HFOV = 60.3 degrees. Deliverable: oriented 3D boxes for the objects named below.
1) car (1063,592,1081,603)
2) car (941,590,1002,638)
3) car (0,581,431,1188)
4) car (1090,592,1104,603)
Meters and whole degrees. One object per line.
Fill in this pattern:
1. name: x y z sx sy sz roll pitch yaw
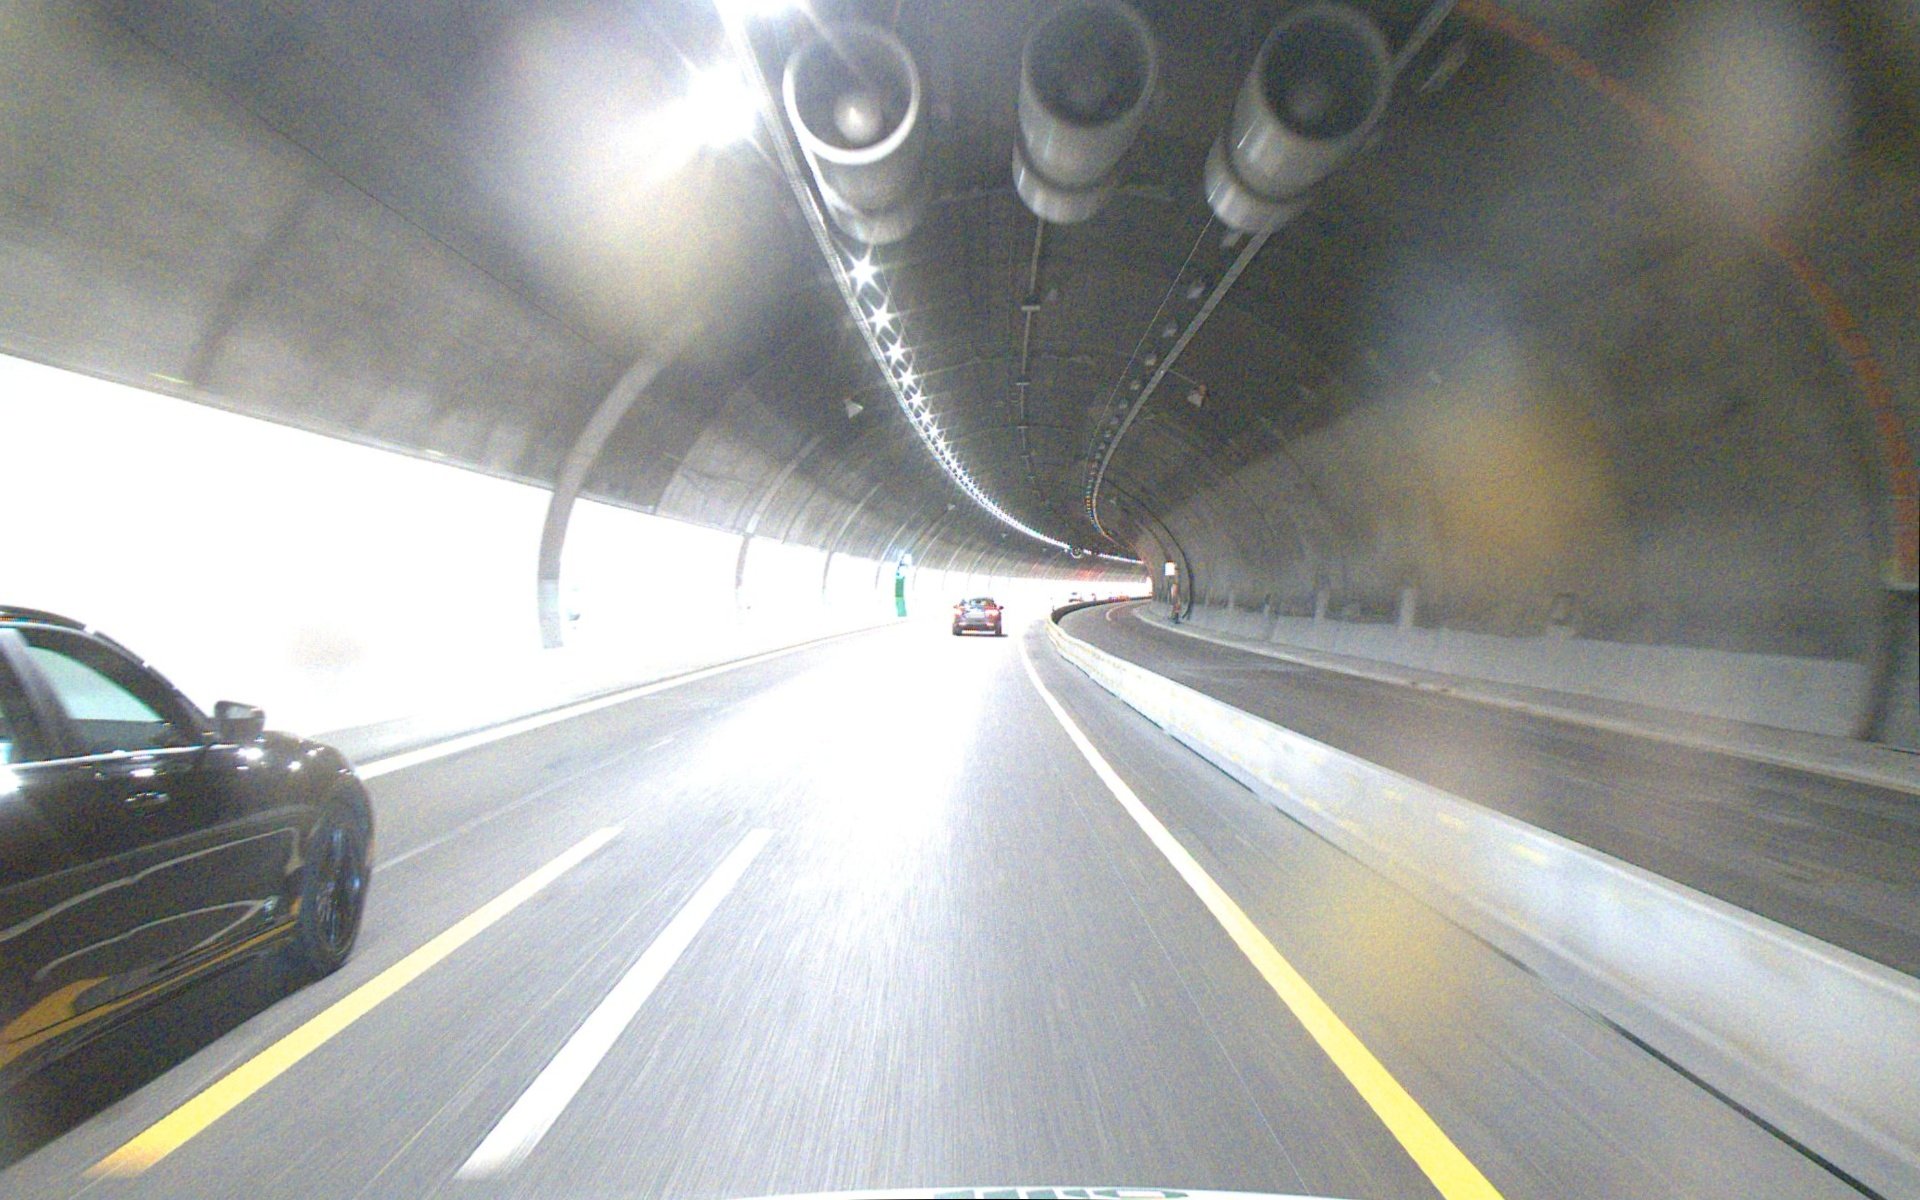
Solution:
1. car: 16.416 -0.353 242.075 2.118 1.512 4.004 0 0 11
2. car: 0.463 0.507 62.624 2.096 1.735 4.002 0 0 3
3. car: -3.198 0.680 4.837 1.741 1.463 4.882 1 0 0
4. car: 18.810 -0.347 227.600 1.561 1.356 3.754 1 0 10
